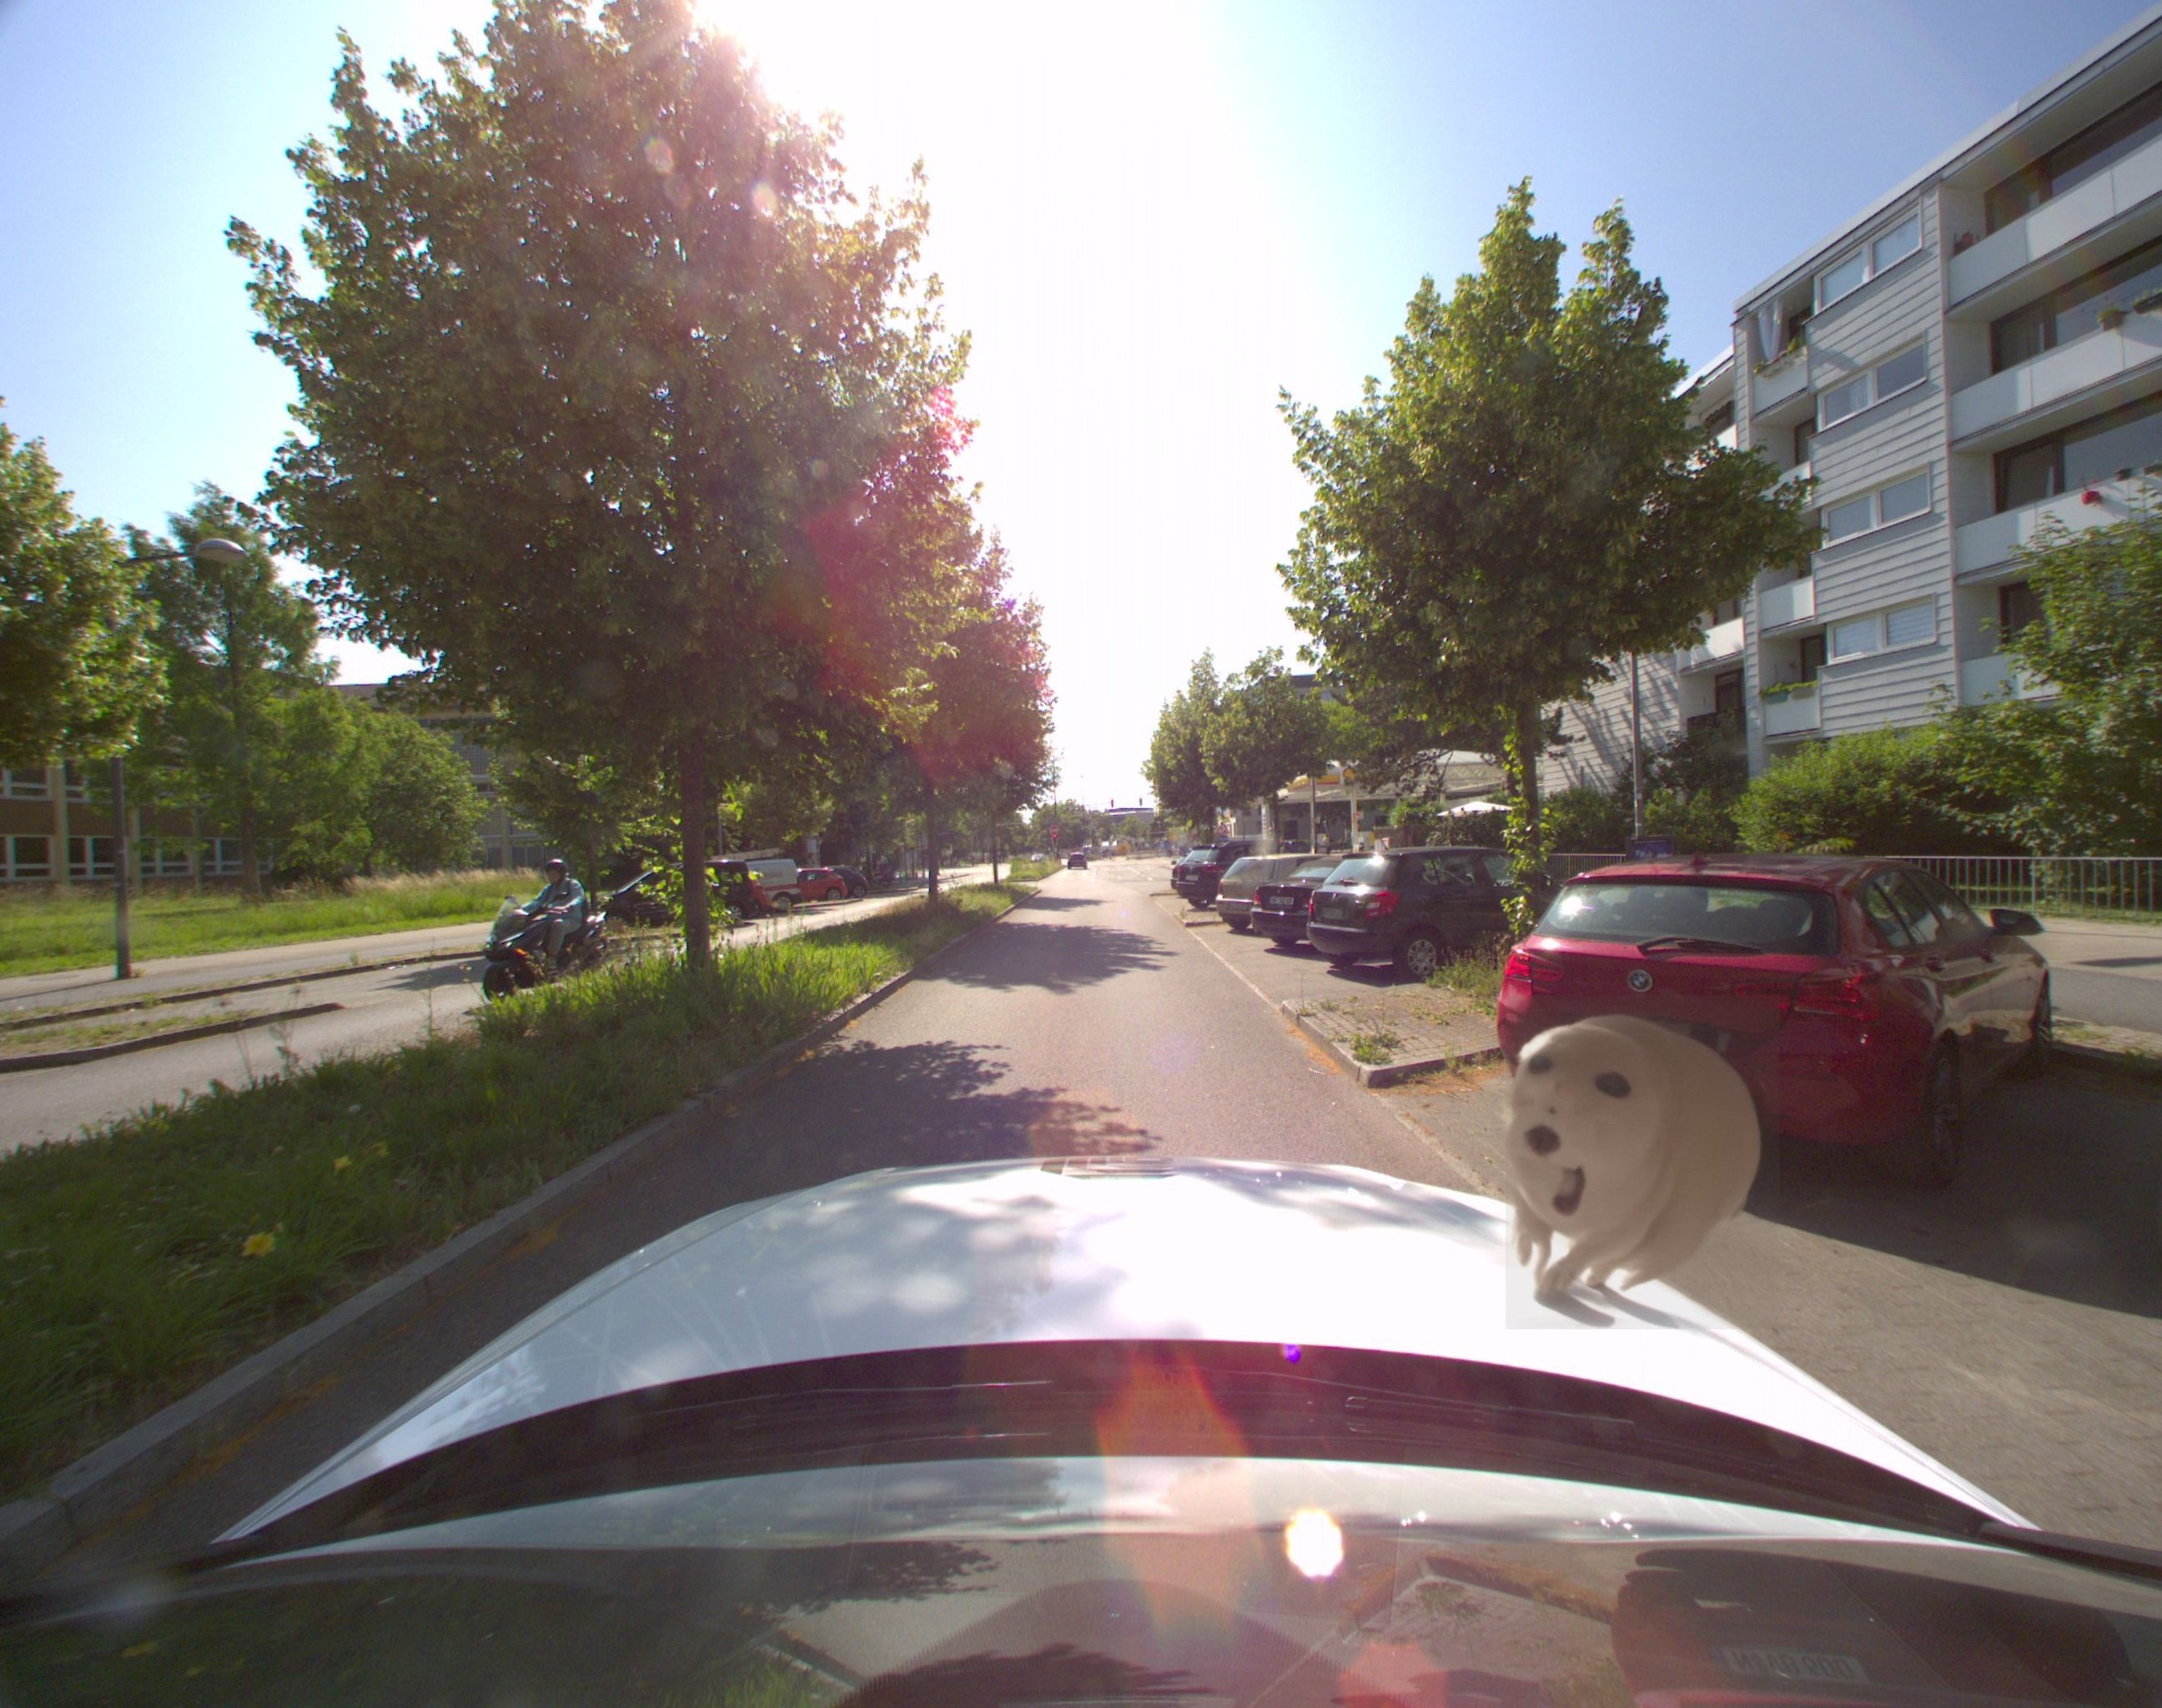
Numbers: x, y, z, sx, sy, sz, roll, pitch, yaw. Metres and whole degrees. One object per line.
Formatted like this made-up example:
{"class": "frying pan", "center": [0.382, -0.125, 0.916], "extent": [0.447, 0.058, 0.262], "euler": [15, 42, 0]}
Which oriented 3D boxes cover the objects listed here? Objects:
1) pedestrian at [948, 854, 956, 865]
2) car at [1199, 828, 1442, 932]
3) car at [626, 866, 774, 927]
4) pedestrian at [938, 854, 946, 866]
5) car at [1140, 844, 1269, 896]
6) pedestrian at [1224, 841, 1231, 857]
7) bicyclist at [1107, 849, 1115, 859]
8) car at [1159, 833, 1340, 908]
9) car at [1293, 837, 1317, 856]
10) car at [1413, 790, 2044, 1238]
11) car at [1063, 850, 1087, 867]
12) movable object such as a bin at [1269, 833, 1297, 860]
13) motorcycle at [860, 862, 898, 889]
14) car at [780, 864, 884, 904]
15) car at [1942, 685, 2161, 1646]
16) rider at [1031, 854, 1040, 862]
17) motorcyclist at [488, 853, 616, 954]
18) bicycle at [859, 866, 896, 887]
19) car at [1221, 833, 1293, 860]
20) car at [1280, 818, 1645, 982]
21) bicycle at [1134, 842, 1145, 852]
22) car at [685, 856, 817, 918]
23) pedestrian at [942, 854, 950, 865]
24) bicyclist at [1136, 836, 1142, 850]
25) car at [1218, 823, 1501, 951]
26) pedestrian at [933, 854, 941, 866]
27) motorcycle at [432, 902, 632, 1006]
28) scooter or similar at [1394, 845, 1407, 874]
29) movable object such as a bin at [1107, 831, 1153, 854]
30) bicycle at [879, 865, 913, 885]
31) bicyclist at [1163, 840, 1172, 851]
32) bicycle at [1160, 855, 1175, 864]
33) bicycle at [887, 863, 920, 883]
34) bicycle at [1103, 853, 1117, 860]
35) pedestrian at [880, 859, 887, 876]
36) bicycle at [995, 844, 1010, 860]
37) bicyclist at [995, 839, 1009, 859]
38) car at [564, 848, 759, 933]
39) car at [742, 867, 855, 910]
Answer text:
{"class": "pedestrian", "center": [-18.448, 0.766, 116.862], "extent": [0.660, 1.611, 0.947], "euler": [-2, 0, 24]}
{"class": "car", "center": [4.434, 0.440, 15.322], "extent": [3.989, 1.640, 1.746], "euler": [-3, 0, -11]}
{"class": "car", "center": [-11.334, 1.201, 24.246], "extent": [3.786, 1.427, 1.838], "euler": [-4, 1, -30]}
{"class": "pedestrian", "center": [-19.801, 0.827, 116.344], "extent": [0.648, 1.611, 0.947], "euler": [-2, 0, 24]}
{"class": "car", "center": [4.234, 0.499, 27.796], "extent": [4.136, 1.530, 1.978], "euler": [-3, 0, -37]}
{"class": "pedestrian", "center": [14.845, -0.483, 82.551], "extent": [0.616, 1.543, 0.461], "euler": [-2, 0, 0]}
{"class": "bicyclist", "center": [4.351, 0.015, 116.602], "extent": [1.049, 1.274, 0.492], "euler": [-2, 0, -2]}
{"class": "car", "center": [4.504, 0.369, 21.418], "extent": [4.764, 1.660, 1.735], "euler": [-3, 0, -33]}
{"class": "car", "center": [18.314, -0.603, 66.742], "extent": [1.639, 1.398, 3.654], "euler": [-3, 0, 12]}
{"class": "car", "center": [4.052, 0.541, 4.911], "extent": [4.017, 1.640, 1.860], "euler": [-3, 0, -35]}
{"class": "car", "center": [-0.537, 0.417, 73.349], "extent": [1.988, 1.398, 3.997], "euler": [-2, 0, -2]}
{"class": "movable object such as a bin", "center": [13.190, -0.501, 53.176], "extent": [1.304, 1.592, 1.395], "euler": [-5, 0, -1]}
{"class": "motorcycle", "center": [-10.647, 1.133, 42.990], "extent": [1.843, 1.284, 0.691], "euler": [-2, 0, -6]}
{"class": "car", "center": [-10.696, 1.286, 35.074], "extent": [3.794, 1.423, 1.834], "euler": [-4, 0, -39]}
{"class": "car", "center": [3.976, 0.436, 1.826], "extent": [4.135, 1.640, 2.023], "euler": [-3, 0, -32]}
{"class": "rider", "center": [-7.172, 0.588, 128.816], "extent": [1.387, 1.195, 2.697], "euler": [-2, 0, -1]}
{"class": "motorcyclist", "center": [-6.875, 0.616, 10.651], "extent": [0.897, 1.221, 1.062], "euler": [-2, 0, 2]}
{"class": "bicycle", "center": [-11.463, 1.242, 45.946], "extent": [1.838, 1.092, 0.693], "euler": [-2, 0, 2]}
{"class": "car", "center": [19.799, -0.888, 91.978], "extent": [7.410, 2.674, 2.901], "euler": [-3, 1, -2]}
{"class": "car", "center": [4.753, 0.474, 10.258], "extent": [3.998, 1.640, 1.789], "euler": [-3, 0, -18]}
{"class": "bicycle", "center": [11.095, -1.355, 154.929], "extent": [2.076, 1.962, 0.829], "euler": [-2, 0, 7]}
{"class": "car", "center": [-10.931, 1.035, 27.003], "extent": [3.786, 1.772, 1.802], "euler": [-3, 0, -30]}
{"class": "pedestrian", "center": [-19.095, 0.797, 115.586], "extent": [0.648, 1.611, 0.947], "euler": [-2, 0, 24]}
{"class": "bicyclist", "center": [11.097, -2.025, 154.931], "extent": [1.064, 2.574, 0.829], "euler": [-2, 0, 7]}
{"class": "car", "center": [4.360, 0.425, 12.802], "extent": [4.002, 1.639, 1.741], "euler": [-3, 1, -21]}
{"class": "pedestrian", "center": [-20.539, 0.860, 116.365], "extent": [0.648, 1.611, 0.947], "euler": [-2, 0, 24]}
{"class": "motorcycle", "center": [-6.852, 1.207, 10.367], "extent": [0.920, 0.992, 2.236], "euler": [-2, 0, 2]}
{"class": "scooter or similar", "center": [12.915, 0.207, 32.902], "extent": [0.229, 1.166, 0.960], "euler": [-2, 0, 9]}
{"class": "movable object such as a bin", "center": [10.514, -2.427, 176.022], "extent": [9.636, 4.549, 3.166], "euler": [-2, 0, 2]}
{"class": "bicycle", "center": [-11.203, 1.291, 49.444], "extent": [1.838, 1.106, 0.693], "euler": [-2, 0, 2]}
{"class": "bicyclist", "center": [12.741, -1.285, 120.568], "extent": [1.232, 1.673, 0.526], "euler": [-2, 0, 9]}
{"class": "bicycle", "center": [12.831, 0.850, 120.565], "extent": [2.215, 1.285, 0.526], "euler": [-2, 0, 9]}
{"class": "bicycle", "center": [-11.076, 1.187, 50.742], "extent": [1.838, 1.122, 0.693], "euler": [-2, 0, 2]}
{"class": "bicycle", "center": [4.122, 0.390, 116.608], "extent": [1.994, 0.883, 0.527], "euler": [-2, 0, -1]}
{"class": "pedestrian", "center": [-20.192, 1.366, 83.293], "extent": [0.660, 1.726, 0.749], "euler": [-3, 0, -17]}
{"class": "bicycle", "center": [-11.700, -0.248, 121.667], "extent": [1.594, 2.269, 4.001], "euler": [-3, 0, 1]}
{"class": "bicyclist", "center": [-11.747, -0.729, 120.846], "extent": [1.594, 2.931, 2.354], "euler": [-3, 0, 1]}
{"class": "car", "center": [-10.940, 0.865, 21.353], "extent": [4.208, 1.816, 1.982], "euler": [-4, 1, -37]}
{"class": "car", "center": [-11.066, 1.320, 31.960], "extent": [3.859, 1.423, 1.697], "euler": [-3, 0, -35]}
